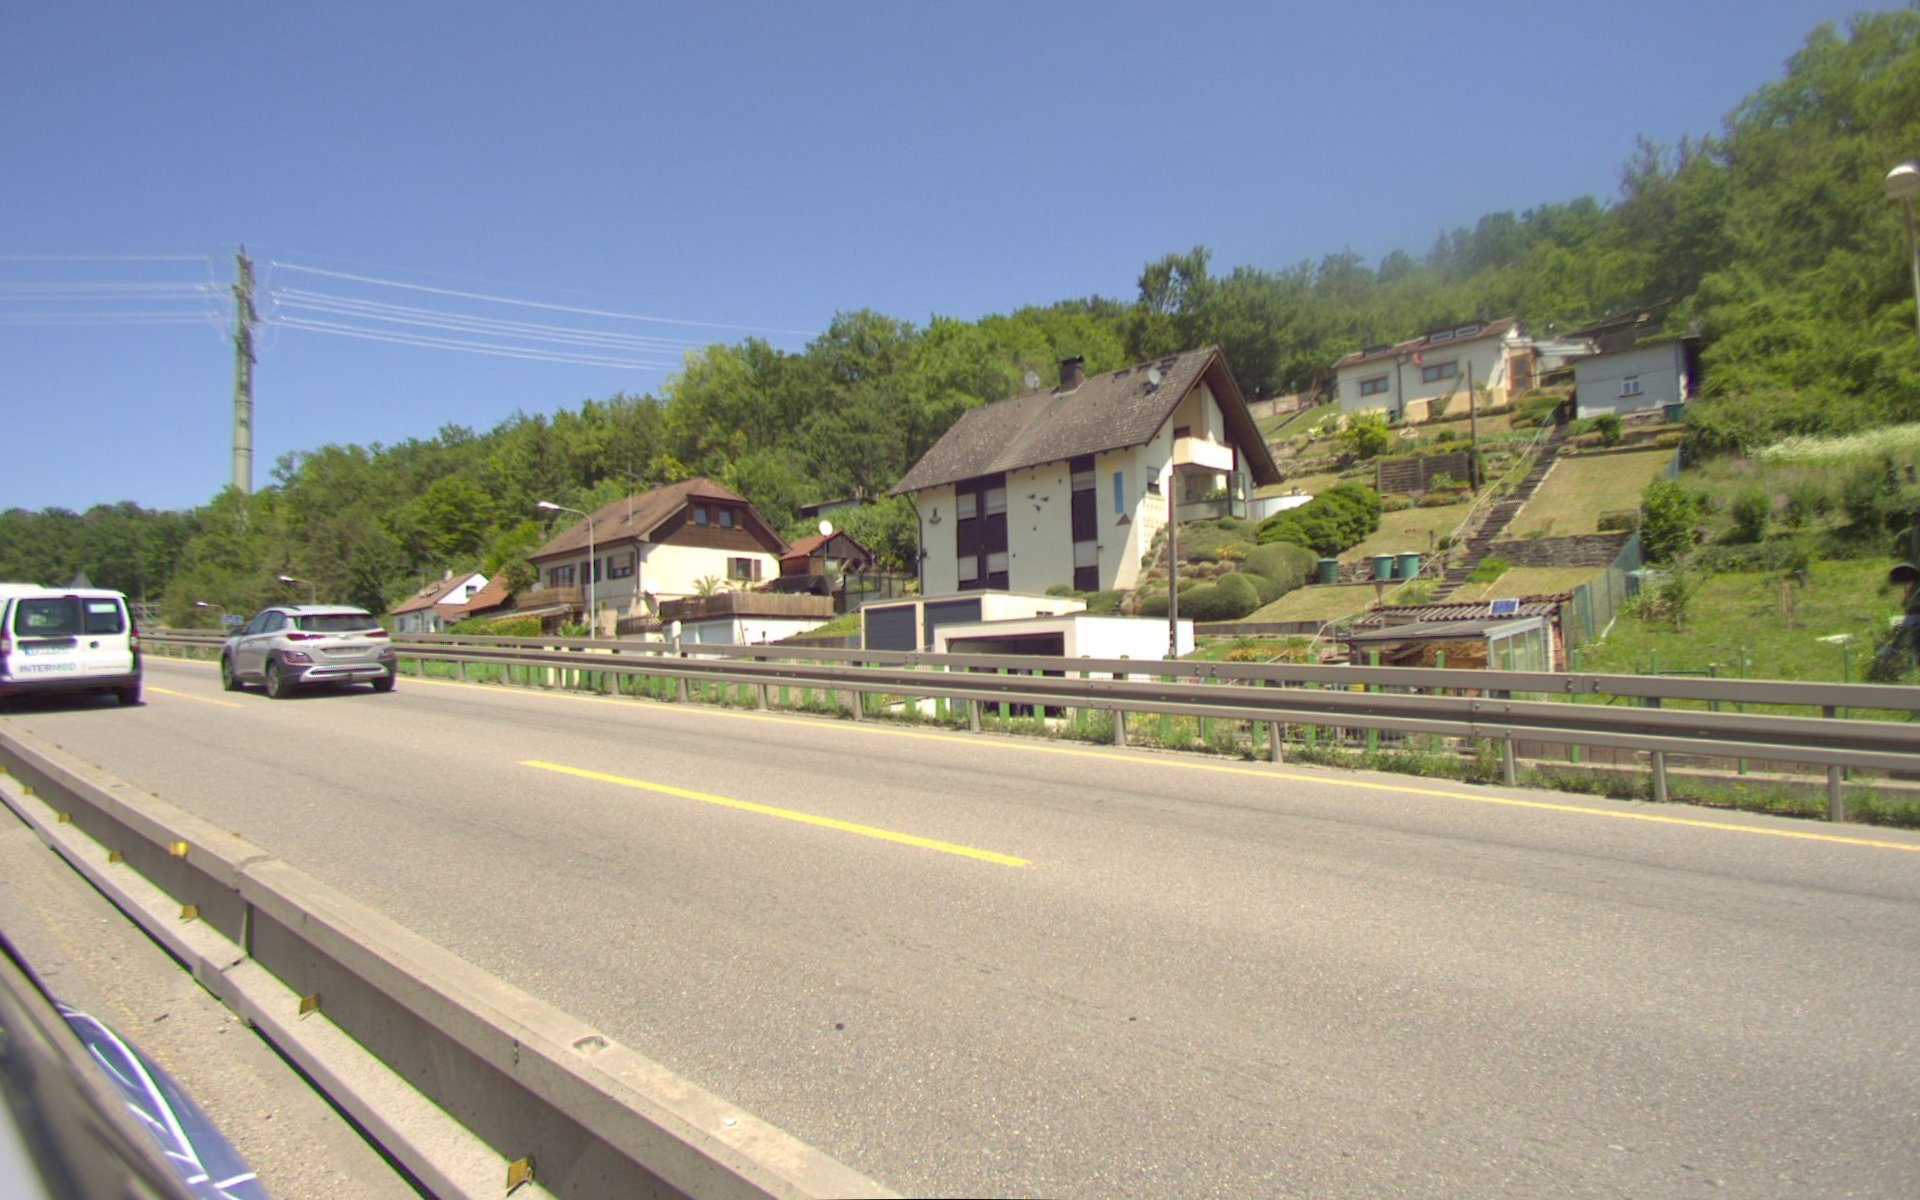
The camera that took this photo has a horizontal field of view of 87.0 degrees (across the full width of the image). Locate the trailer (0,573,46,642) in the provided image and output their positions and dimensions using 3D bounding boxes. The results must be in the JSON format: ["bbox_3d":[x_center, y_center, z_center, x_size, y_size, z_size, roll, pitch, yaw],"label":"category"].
[{"bbox_3d":[-38.553,0.299,40.147,6.236,2.608,2.573,0,0,40],"label":"trailer"}]

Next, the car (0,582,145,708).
[{"bbox_3d":[-14.567,0.653,16.041,4.253,1.754,1.791,-1,-1,40],"label":"car"}]

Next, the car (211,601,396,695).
[{"bbox_3d":[-11.705,0.790,17.954,3.971,1.490,1.685,-1,-1,40],"label":"car"}]
